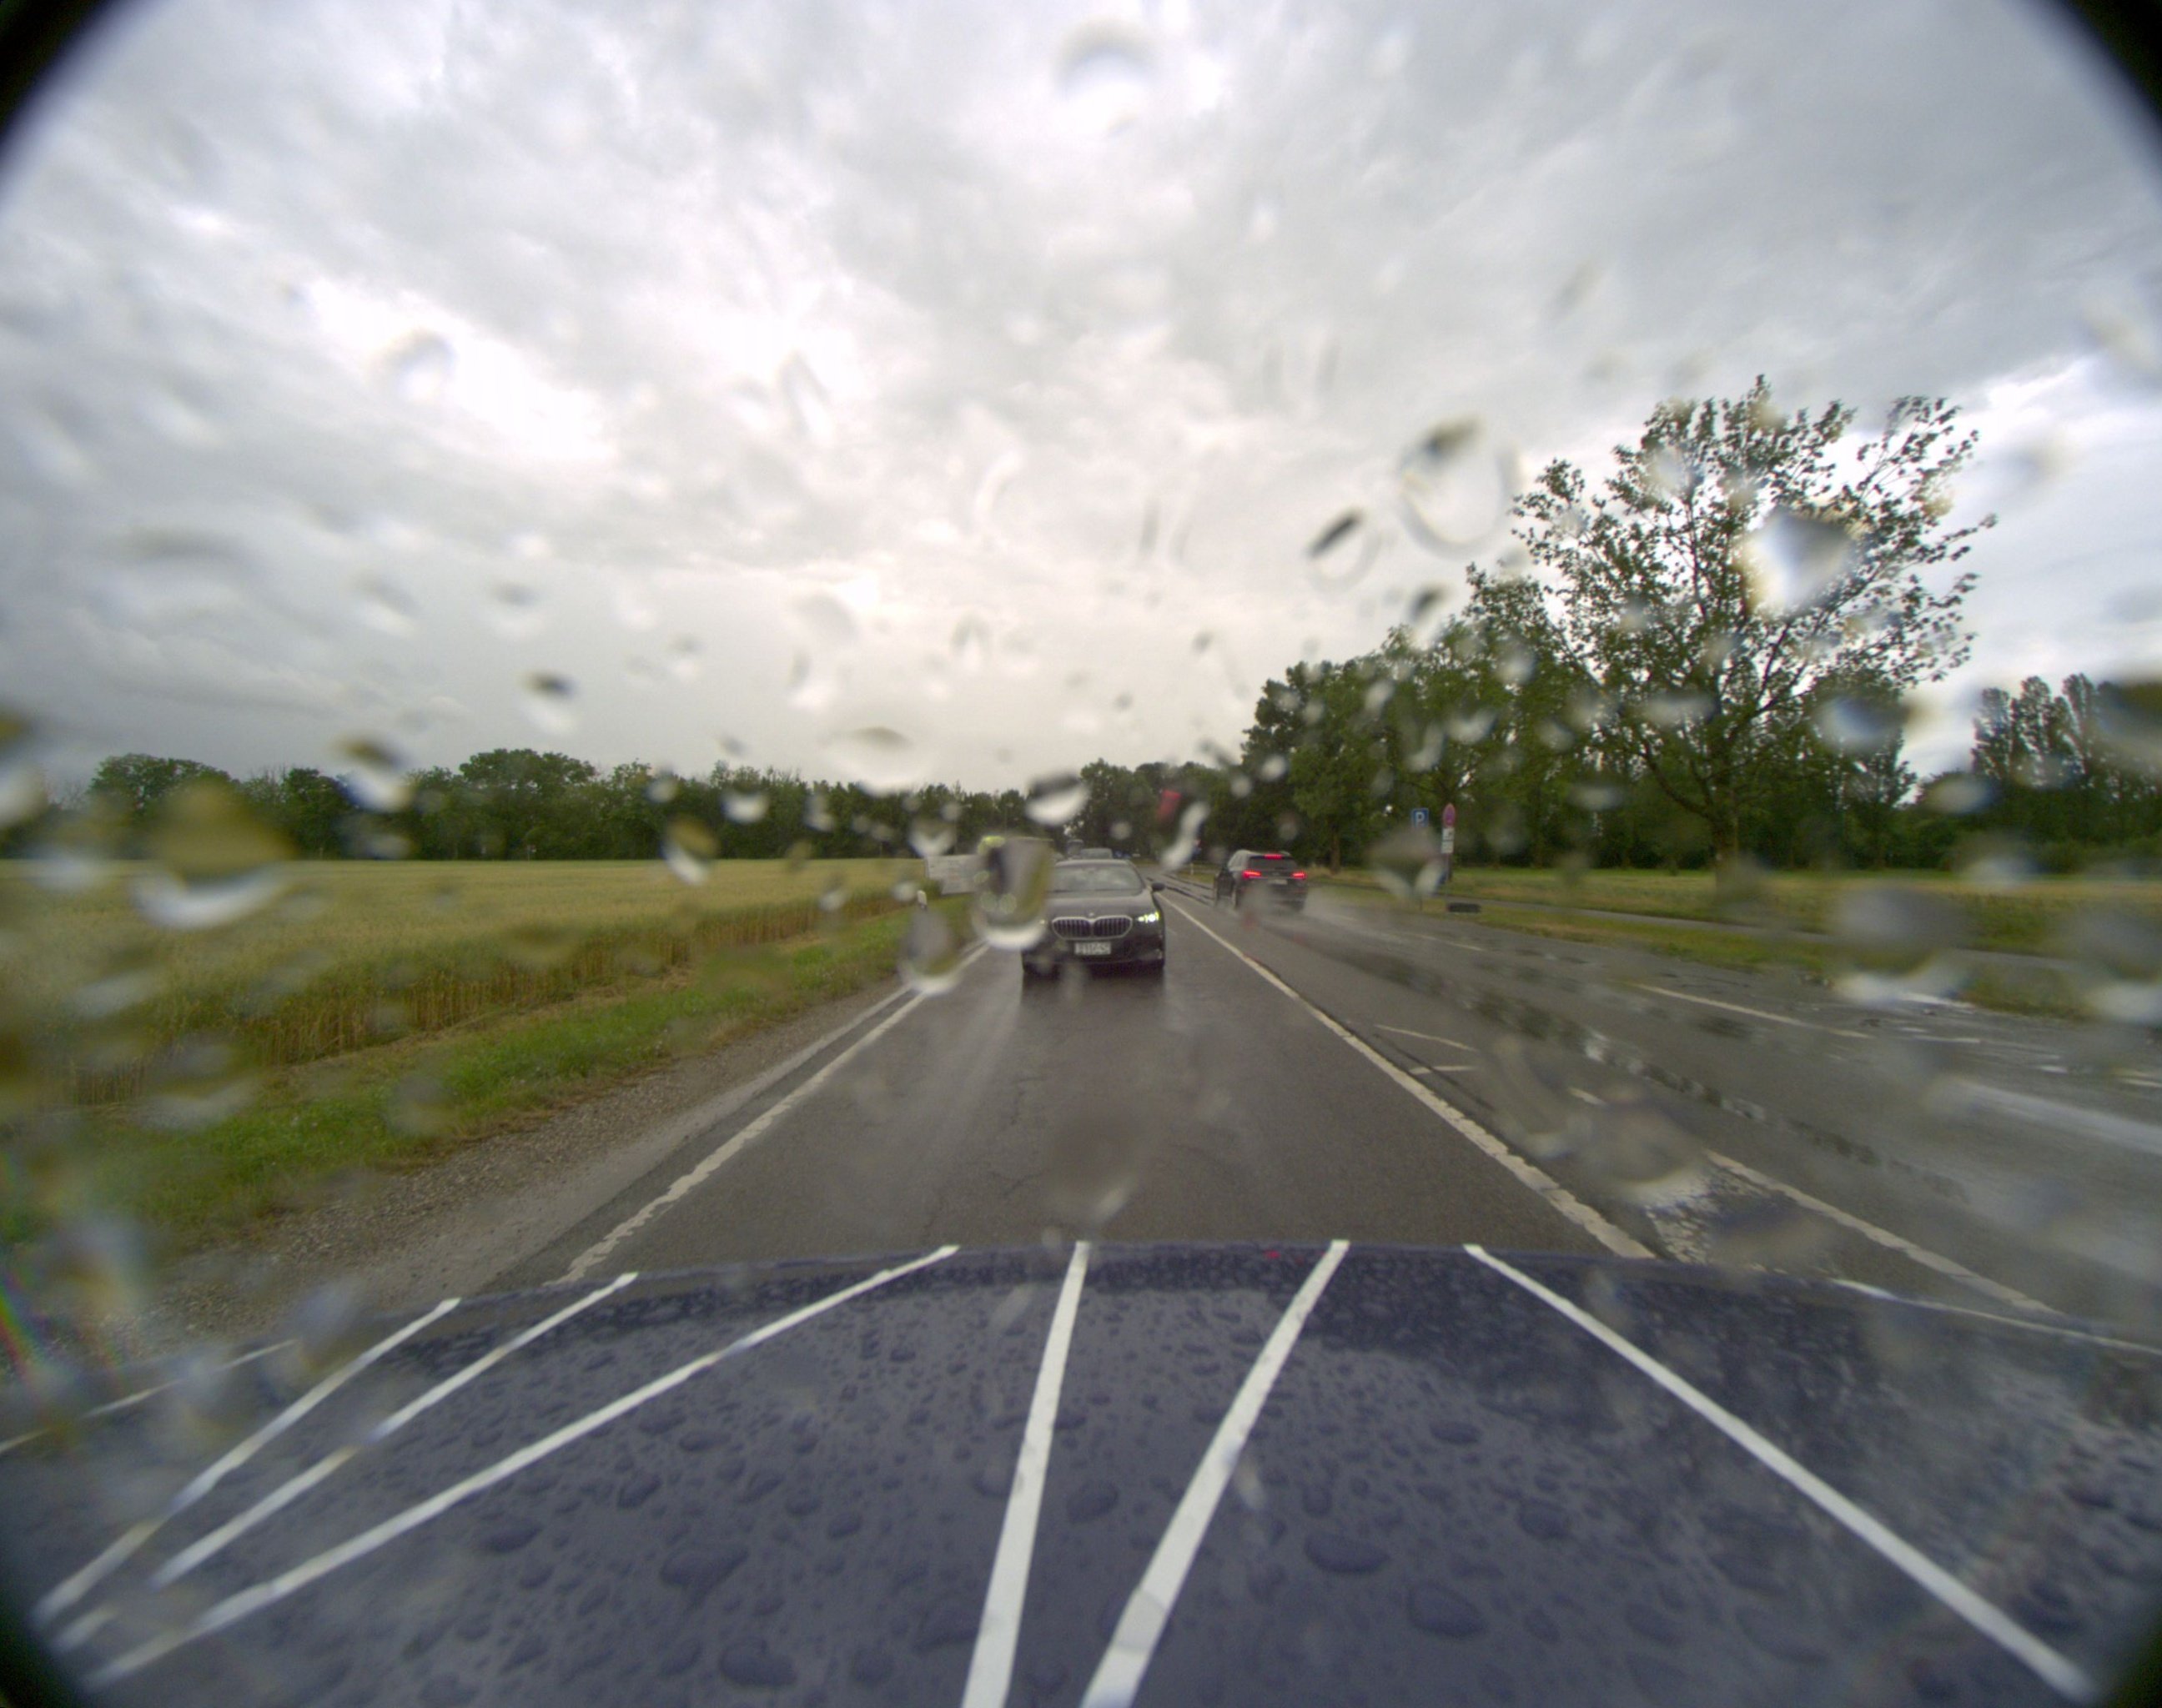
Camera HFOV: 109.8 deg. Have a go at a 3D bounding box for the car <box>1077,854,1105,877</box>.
[{"bbox_3d":[0.680,0.804,56.620,1.892,1.522,5.255,-1,0,-1],"label":"car"}]

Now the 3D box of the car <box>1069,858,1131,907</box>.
[{"bbox_3d":[0.646,0.910,25.772,1.891,1.482,4.192,-2,-1,1],"label":"car"}]

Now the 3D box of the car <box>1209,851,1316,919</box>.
[{"bbox_3d":[4.940,0.771,21.314,1.921,1.622,4.357,3,1,1],"label":"car"}]

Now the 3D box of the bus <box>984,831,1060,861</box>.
[{"bbox_3d":[-7.303,-0.977,97.819,2.990,3.665,14.320,1,1,26],"label":"bus"}]

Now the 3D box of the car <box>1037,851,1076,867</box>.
[{"bbox_3d":[-2.542,0.488,77.385,1.896,1.522,4.491,-2,0,-33],"label":"car"}]

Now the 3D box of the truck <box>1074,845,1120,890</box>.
[{"bbox_3d":[0.738,0.606,39.861,2.076,2.050,5.767,-3,1,-1],"label":"truck"}]

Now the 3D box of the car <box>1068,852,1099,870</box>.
[{"bbox_3d":[0.196,0.626,67.774,1.893,1.522,4.497,-2,0,-12],"label":"car"}]

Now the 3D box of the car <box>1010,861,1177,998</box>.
[{"bbox_3d":[0.202,0.899,10.800,1.891,1.484,4.036,-1,0,2],"label":"car"}]

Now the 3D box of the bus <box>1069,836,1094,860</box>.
[{"bbox_3d":[0.189,-0.875,116.033,2.855,3.417,14.297,0,1,4],"label":"bus"}]
